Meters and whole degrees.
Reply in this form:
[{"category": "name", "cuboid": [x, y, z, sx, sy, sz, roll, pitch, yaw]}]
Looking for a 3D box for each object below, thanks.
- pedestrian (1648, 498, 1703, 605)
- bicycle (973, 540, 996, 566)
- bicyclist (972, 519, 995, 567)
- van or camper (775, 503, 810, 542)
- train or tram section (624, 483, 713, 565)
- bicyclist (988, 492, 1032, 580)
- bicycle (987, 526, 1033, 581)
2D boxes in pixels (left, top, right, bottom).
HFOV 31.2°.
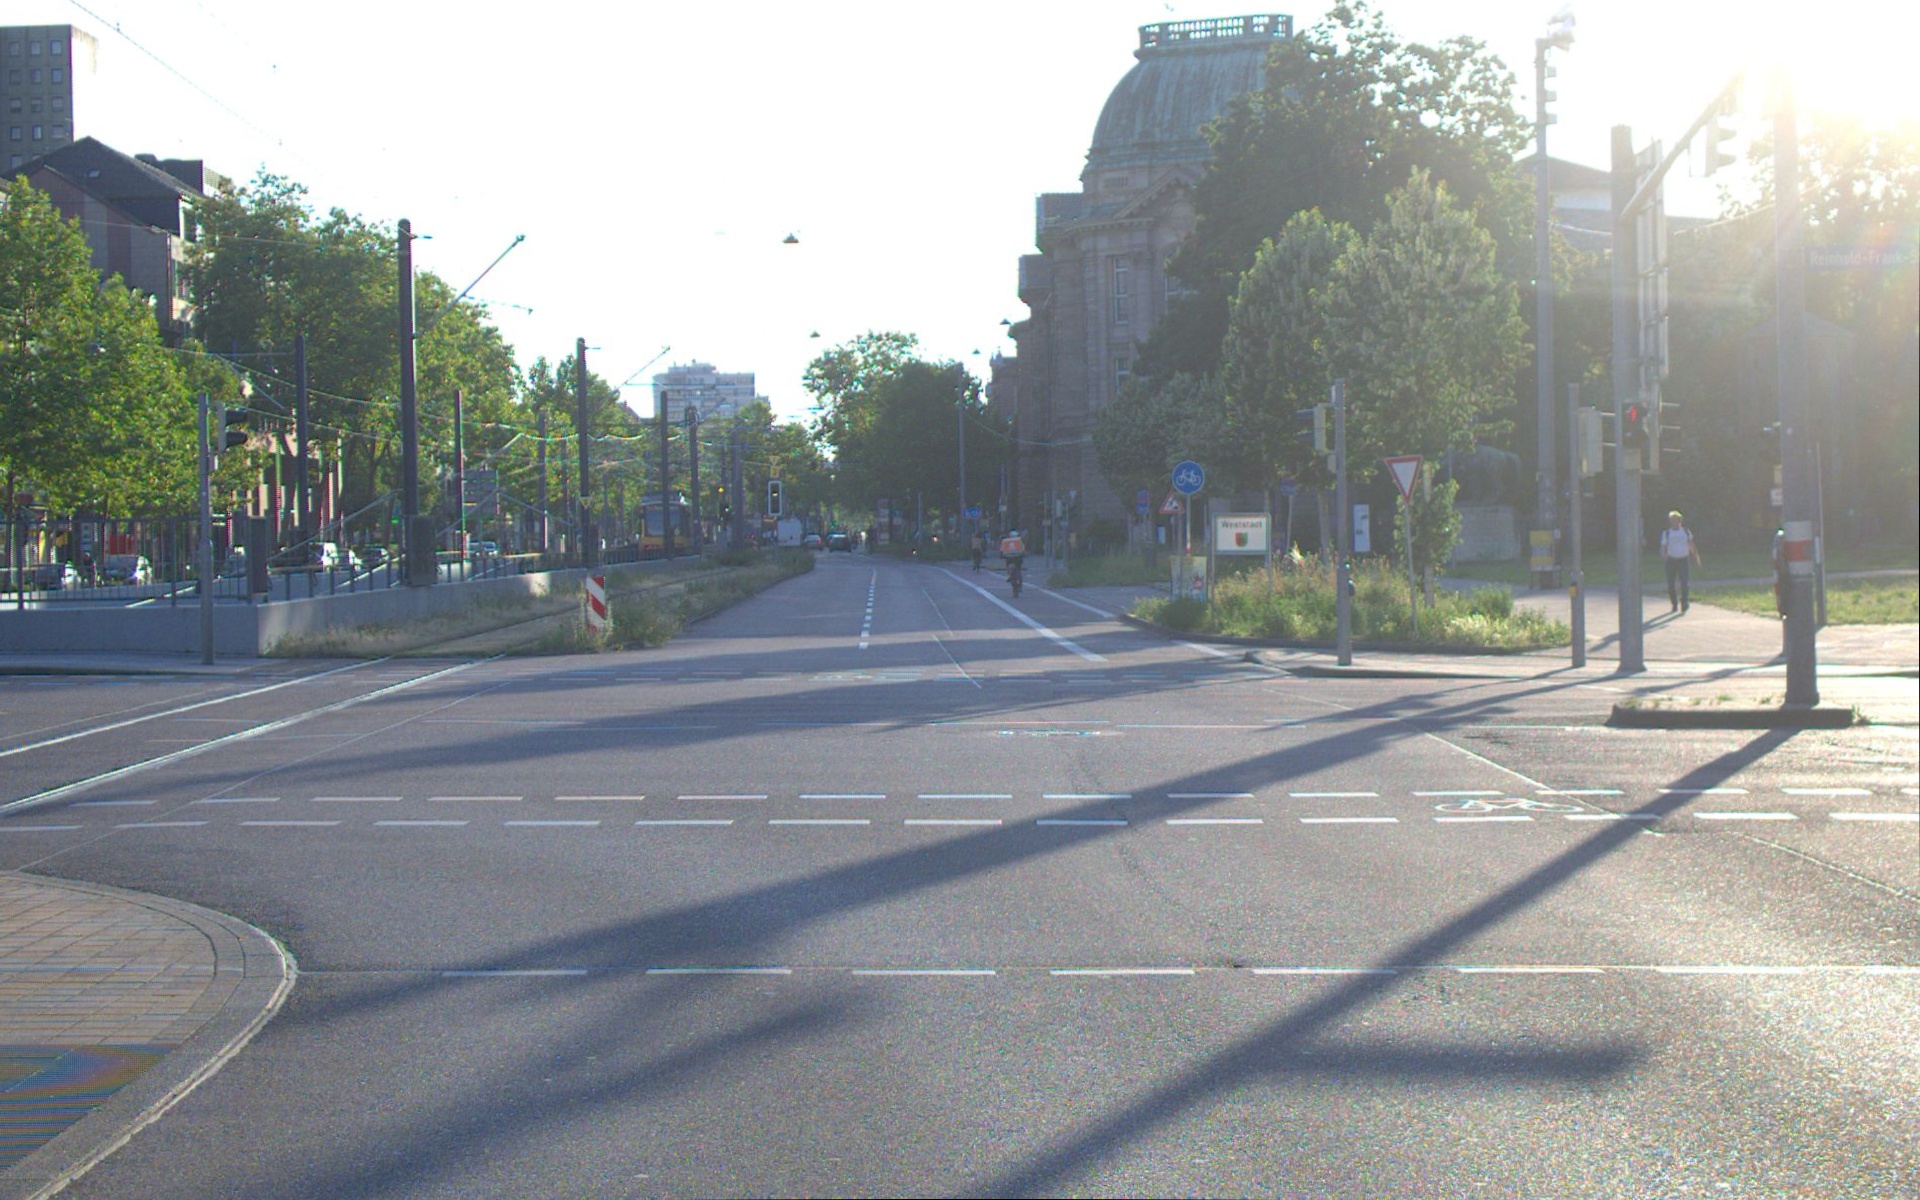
[{"category": "pedestrian", "cuboid": [12.132, -0.827, 58.279, 0.833, 1.797, 0.810, -1, 1, 15]}, {"category": "bicycle", "cuboid": [1.025, -2.003, 146.503, 0.924, 1.108, 2.333, -1, 1, -1]}, {"category": "bicyclist", "cuboid": [1.008, -2.433, 146.547, 0.925, 2.007, 0.850, -1, 1, -1]}, {"category": "van or camper", "cuboid": [-12.243, -5.669, 251.789, 2.449, 2.761, 5.601, -1, 1, -2]}, {"category": "train or tram section", "cuboid": [-15.082, -4.005, 178.408, 4.385, 3.836, 11.413, -1, 3, -5]}, {"category": "bicyclist", "cuboid": [1.292, -1.653, 88.839, 1.082, 2.268, 0.986, 0, 1, -1]}, {"category": "bicycle", "cuboid": [1.293, -1.214, 88.952, 1.098, 1.394, 2.832, -1, 1, -1]}]
